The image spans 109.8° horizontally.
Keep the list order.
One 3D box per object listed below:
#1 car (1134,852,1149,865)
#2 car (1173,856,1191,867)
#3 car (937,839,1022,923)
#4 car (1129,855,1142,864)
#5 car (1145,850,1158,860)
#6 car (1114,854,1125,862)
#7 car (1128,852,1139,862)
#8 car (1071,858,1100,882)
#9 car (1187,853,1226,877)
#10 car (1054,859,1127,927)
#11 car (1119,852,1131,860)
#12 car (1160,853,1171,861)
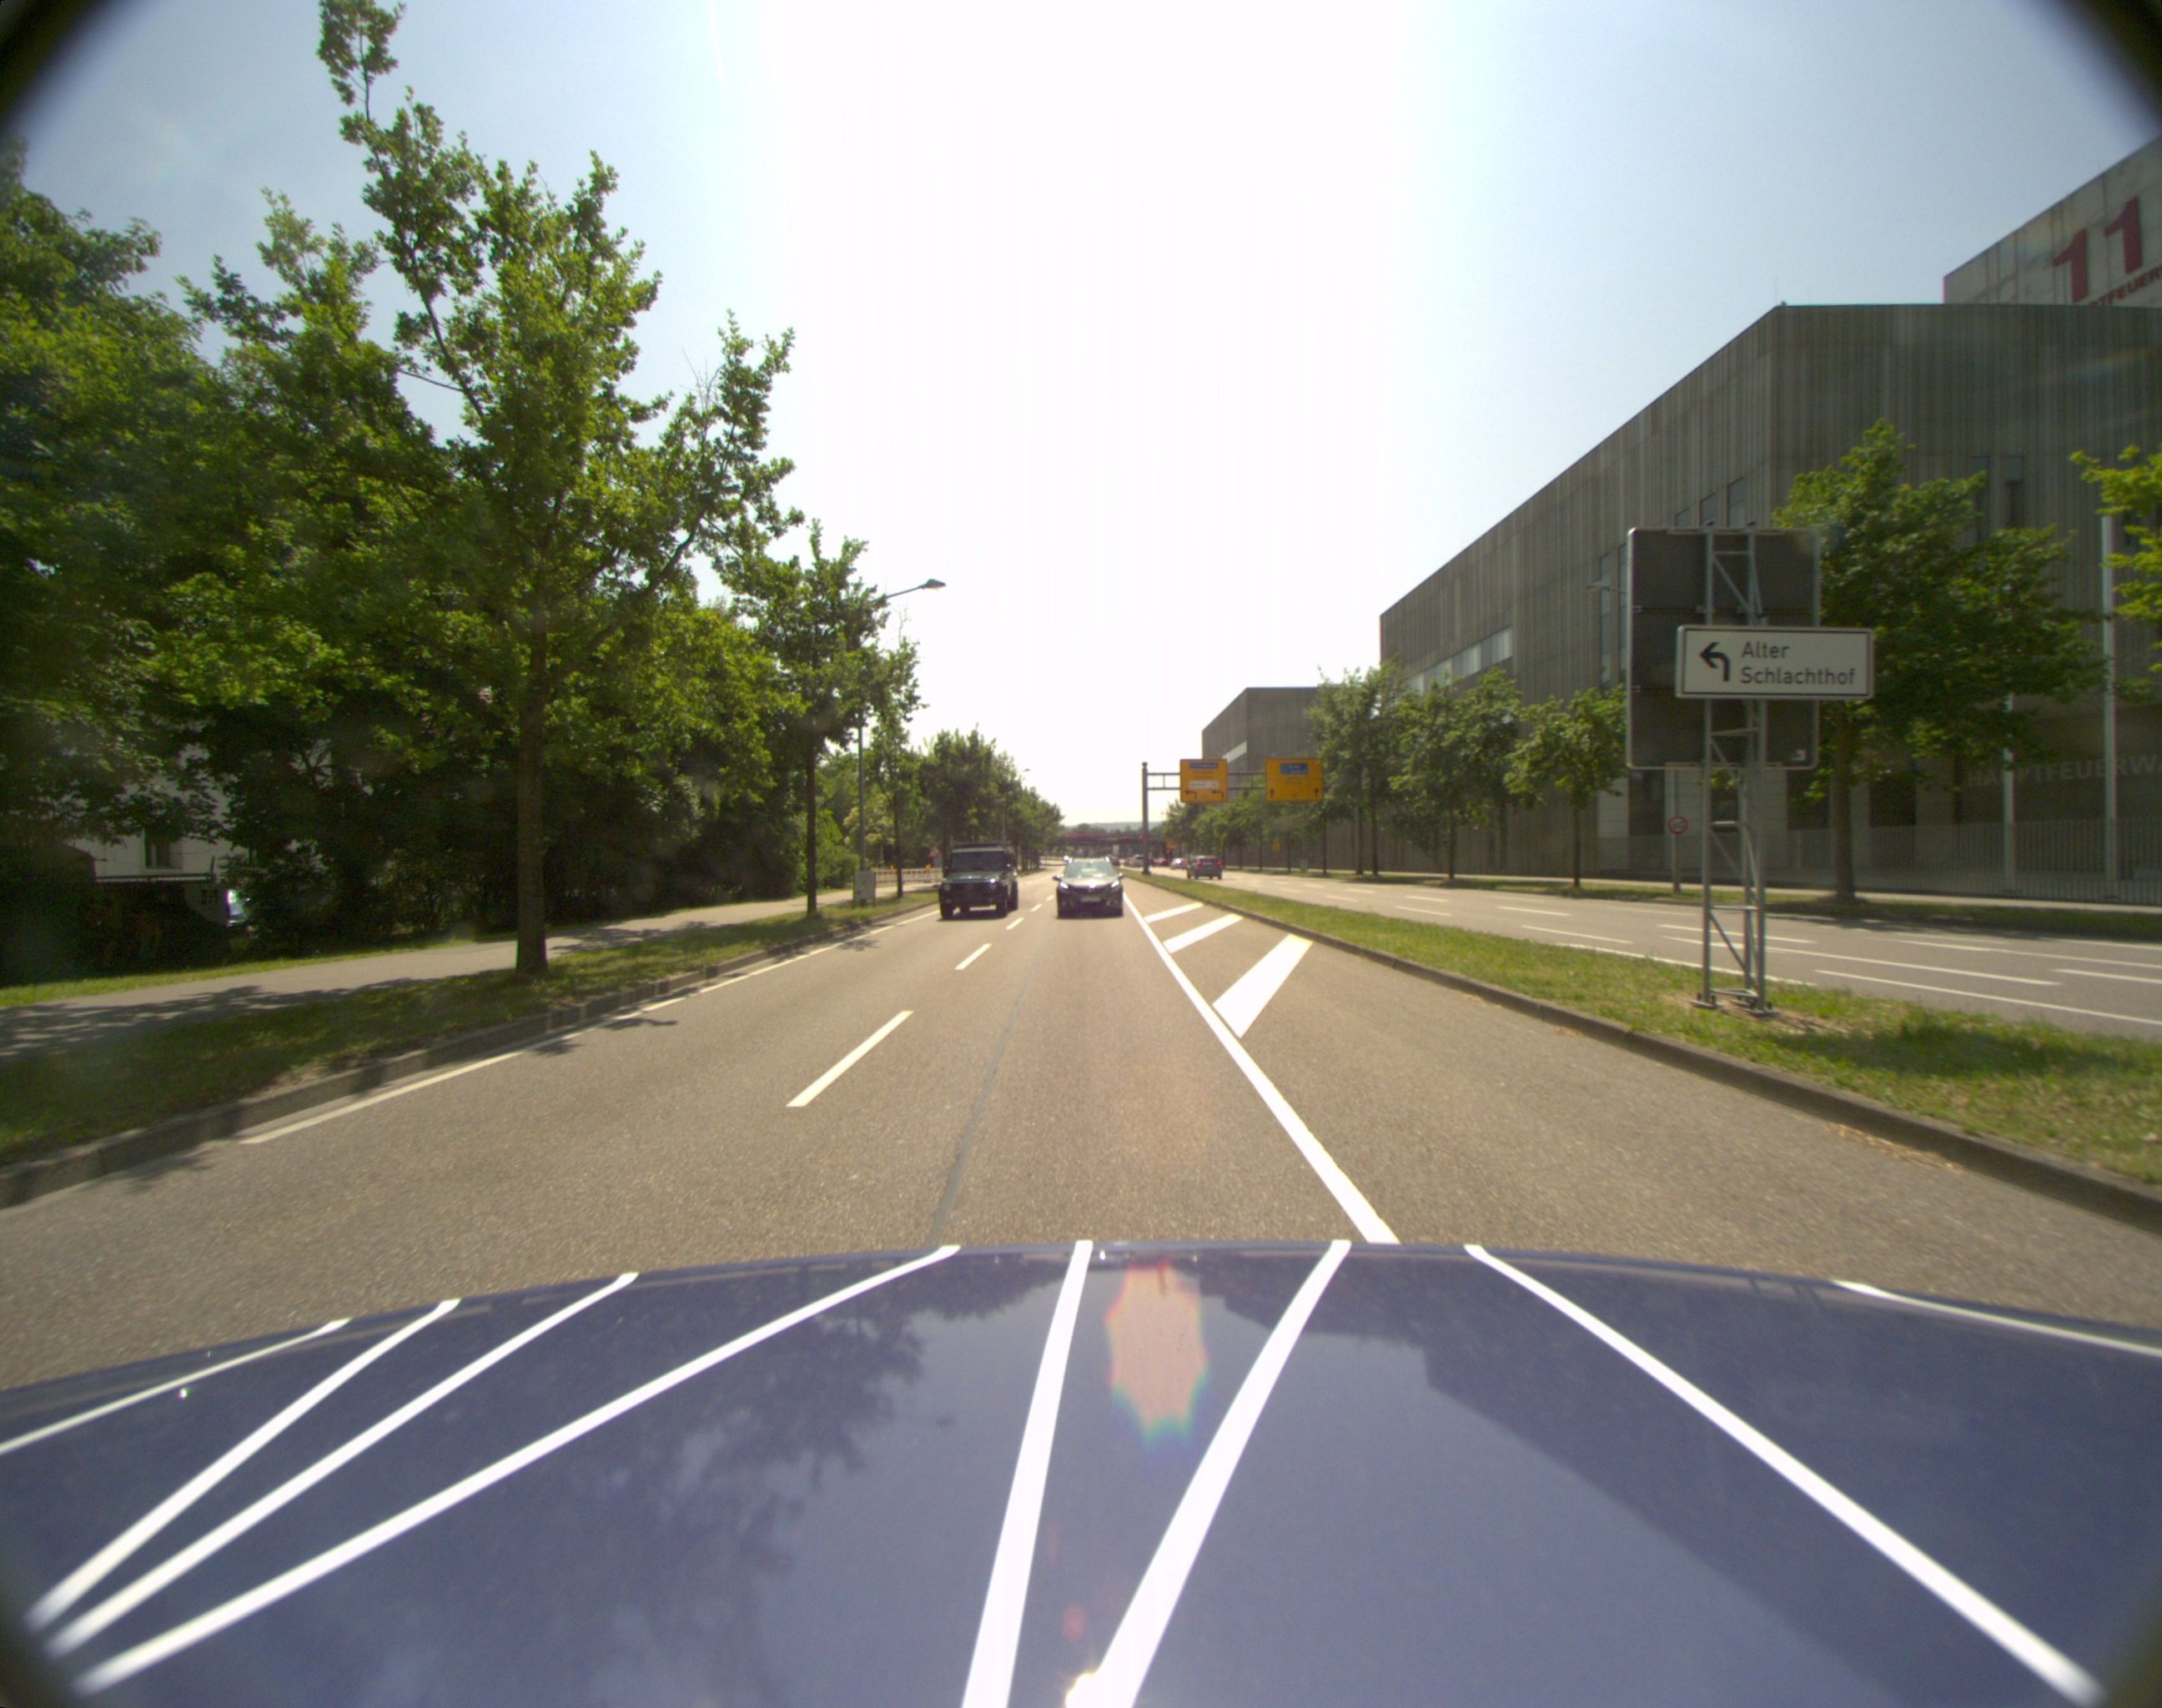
[{"bbox_3d":[9.625,0.700,120.878,1.914,1.981,4.898,0,0,0],"label":"car"},{"bbox_3d":[12.908,0.922,97.447,1.815,1.419,4.359,0,0,0],"label":"car"},{"bbox_3d":[-2.821,0.695,22.017,1.841,2.141,4.557,-1,0,-1],"label":"car"},{"bbox_3d":[9.193,0.979,127.715,1.770,1.452,4.144,0,0,-1],"label":"car"},{"bbox_3d":[12.697,0.172,137.072,1.815,1.736,4.645,-1,0,-2],"label":"car"},{"bbox_3d":[6.950,0.677,137.691,1.815,1.458,4.057,-1,0,0],"label":"car"},{"bbox_3d":[9.478,0.531,137.111,1.807,1.653,4.573,0,0,2],"label":"car"},{"bbox_3d":[0.260,1.028,50.152,1.817,1.456,4.000,-1,0,0],"label":"car"},{"bbox_3d":[8.045,0.696,49.013,1.712,1.463,3.940,0,0,-2],"label":"car"},{"bbox_3d":[0.297,0.925,19.803,1.619,1.502,4.459,-3,-1,2],"label":"car"},{"bbox_3d":[8.290,0.402,143.766,1.815,1.437,4.249,0,0,-2],"label":"car"},{"bbox_3d":[15.398,0.572,138.356,1.625,1.447,4.017,-1,0,0],"label":"car"}]
